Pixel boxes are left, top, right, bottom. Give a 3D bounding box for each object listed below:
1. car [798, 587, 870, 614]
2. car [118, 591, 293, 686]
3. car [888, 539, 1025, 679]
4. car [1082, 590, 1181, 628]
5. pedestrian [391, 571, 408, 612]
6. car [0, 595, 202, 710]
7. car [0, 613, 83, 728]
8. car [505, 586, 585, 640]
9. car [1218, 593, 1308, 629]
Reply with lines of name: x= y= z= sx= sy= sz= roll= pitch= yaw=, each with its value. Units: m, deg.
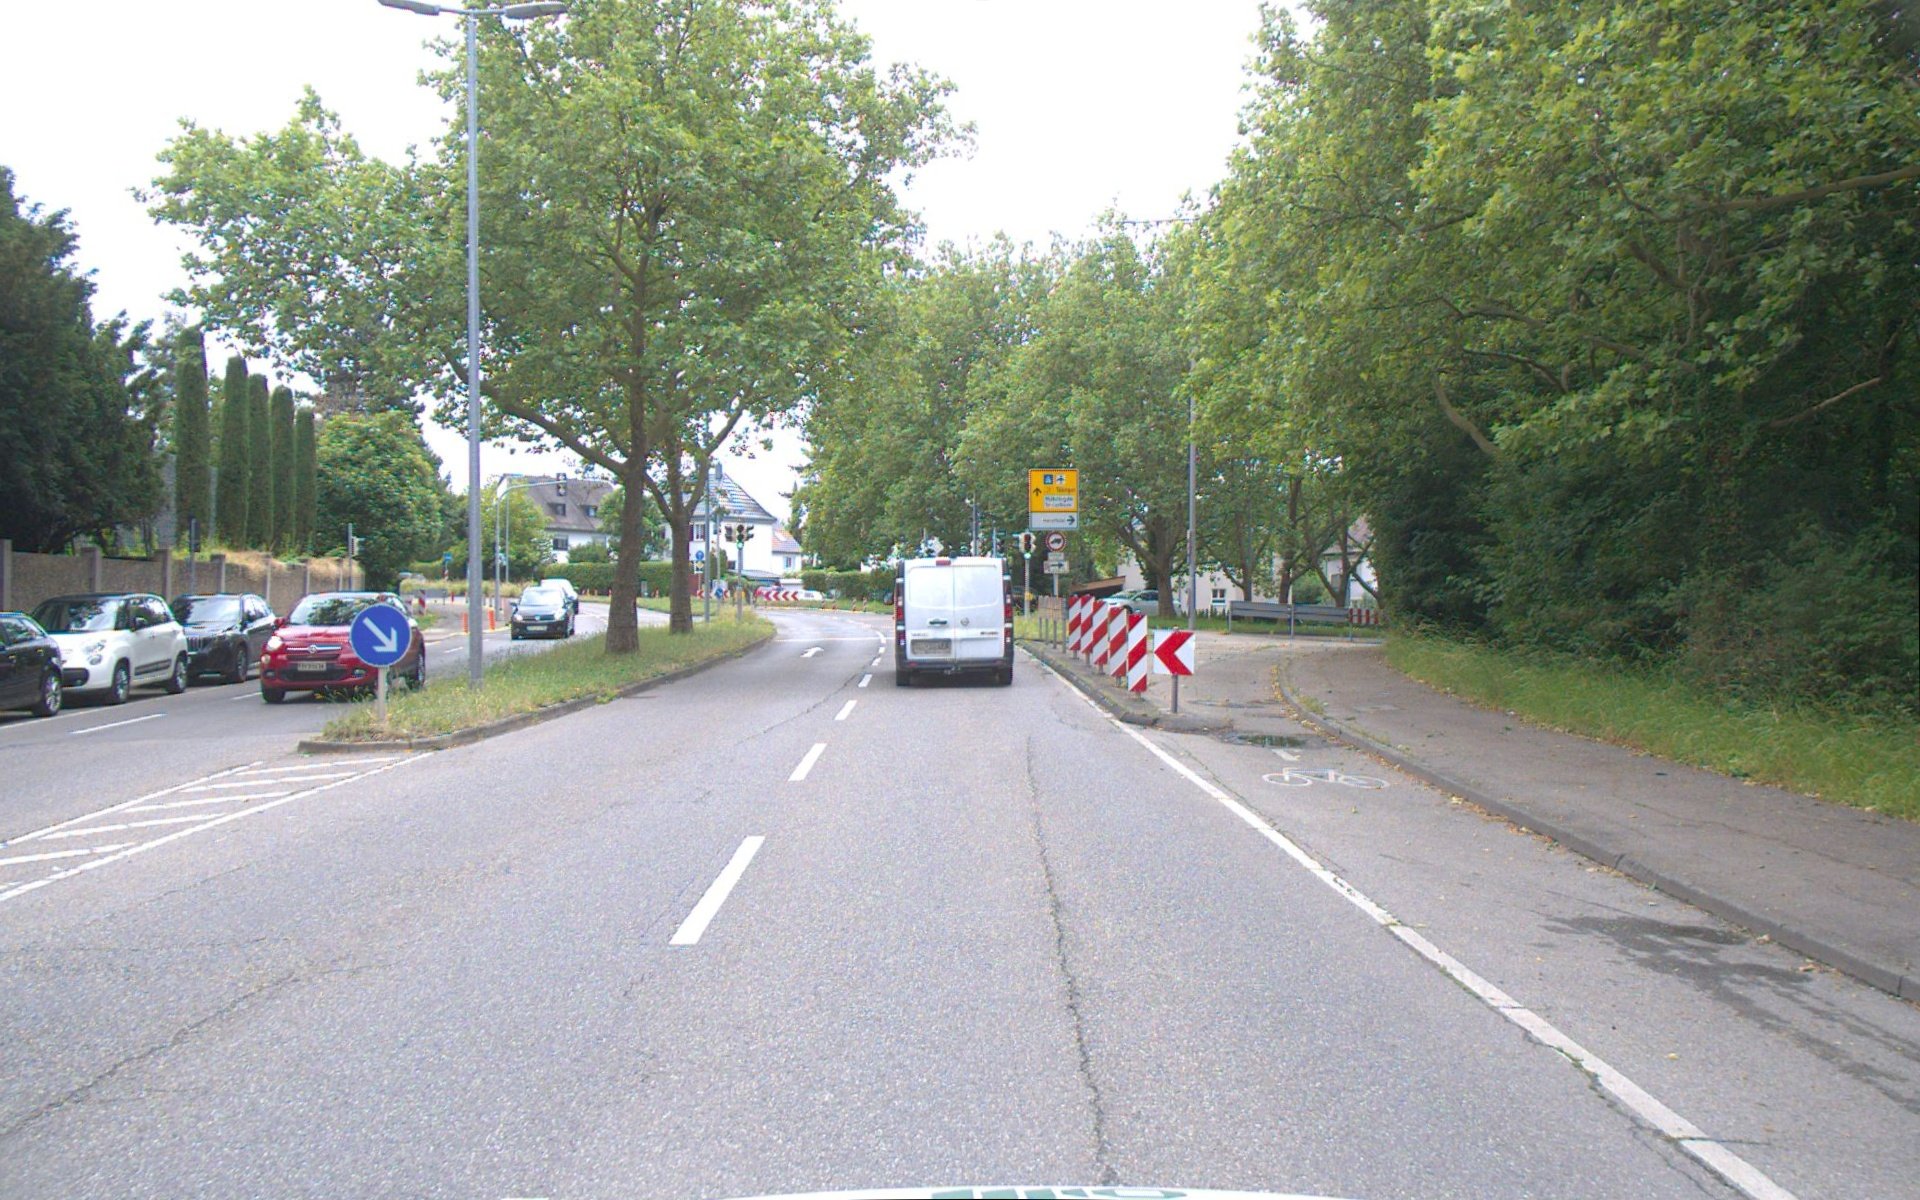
car: x=-8.588 y=0.036 z=112.353 sx=4.644 sy=1.800 sz=1.995 roll=1 pitch=0 yaw=33
car: x=-14.095 y=0.692 z=31.169 sx=1.853 sy=1.653 sz=4.421 roll=0 pitch=-1 yaw=-9
car: x=-0.160 y=0.167 z=27.154 sx=1.966 sy=2.074 sz=5.006 roll=0 pitch=-1 yaw=-3
car: x=8.371 y=0.419 z=80.547 sx=4.693 sy=1.800 sz=1.974 roll=1 pitch=0 yaw=-37
pedestrian: x=-29.157 y=-0.445 z=86.021 sx=0.728 sy=2.048 sz=0.630 roll=2 pitch=1 yaw=-17
car: x=-13.427 y=0.766 z=25.891 sx=1.641 sy=1.620 sz=4.090 roll=-1 pitch=0 yaw=-7
car: x=-12.734 y=0.873 z=20.804 sx=1.617 sy=1.425 sz=4.214 roll=0 pitch=-1 yaw=-8
car: x=-13.025 y=0.411 z=52.120 sx=1.960 sy=1.615 sz=3.991 roll=-1 pitch=-1 yaw=-7
car: x=15.762 y=0.559 z=86.031 sx=4.693 sy=1.800 sz=1.974 roll=1 pitch=0 yaw=-37
